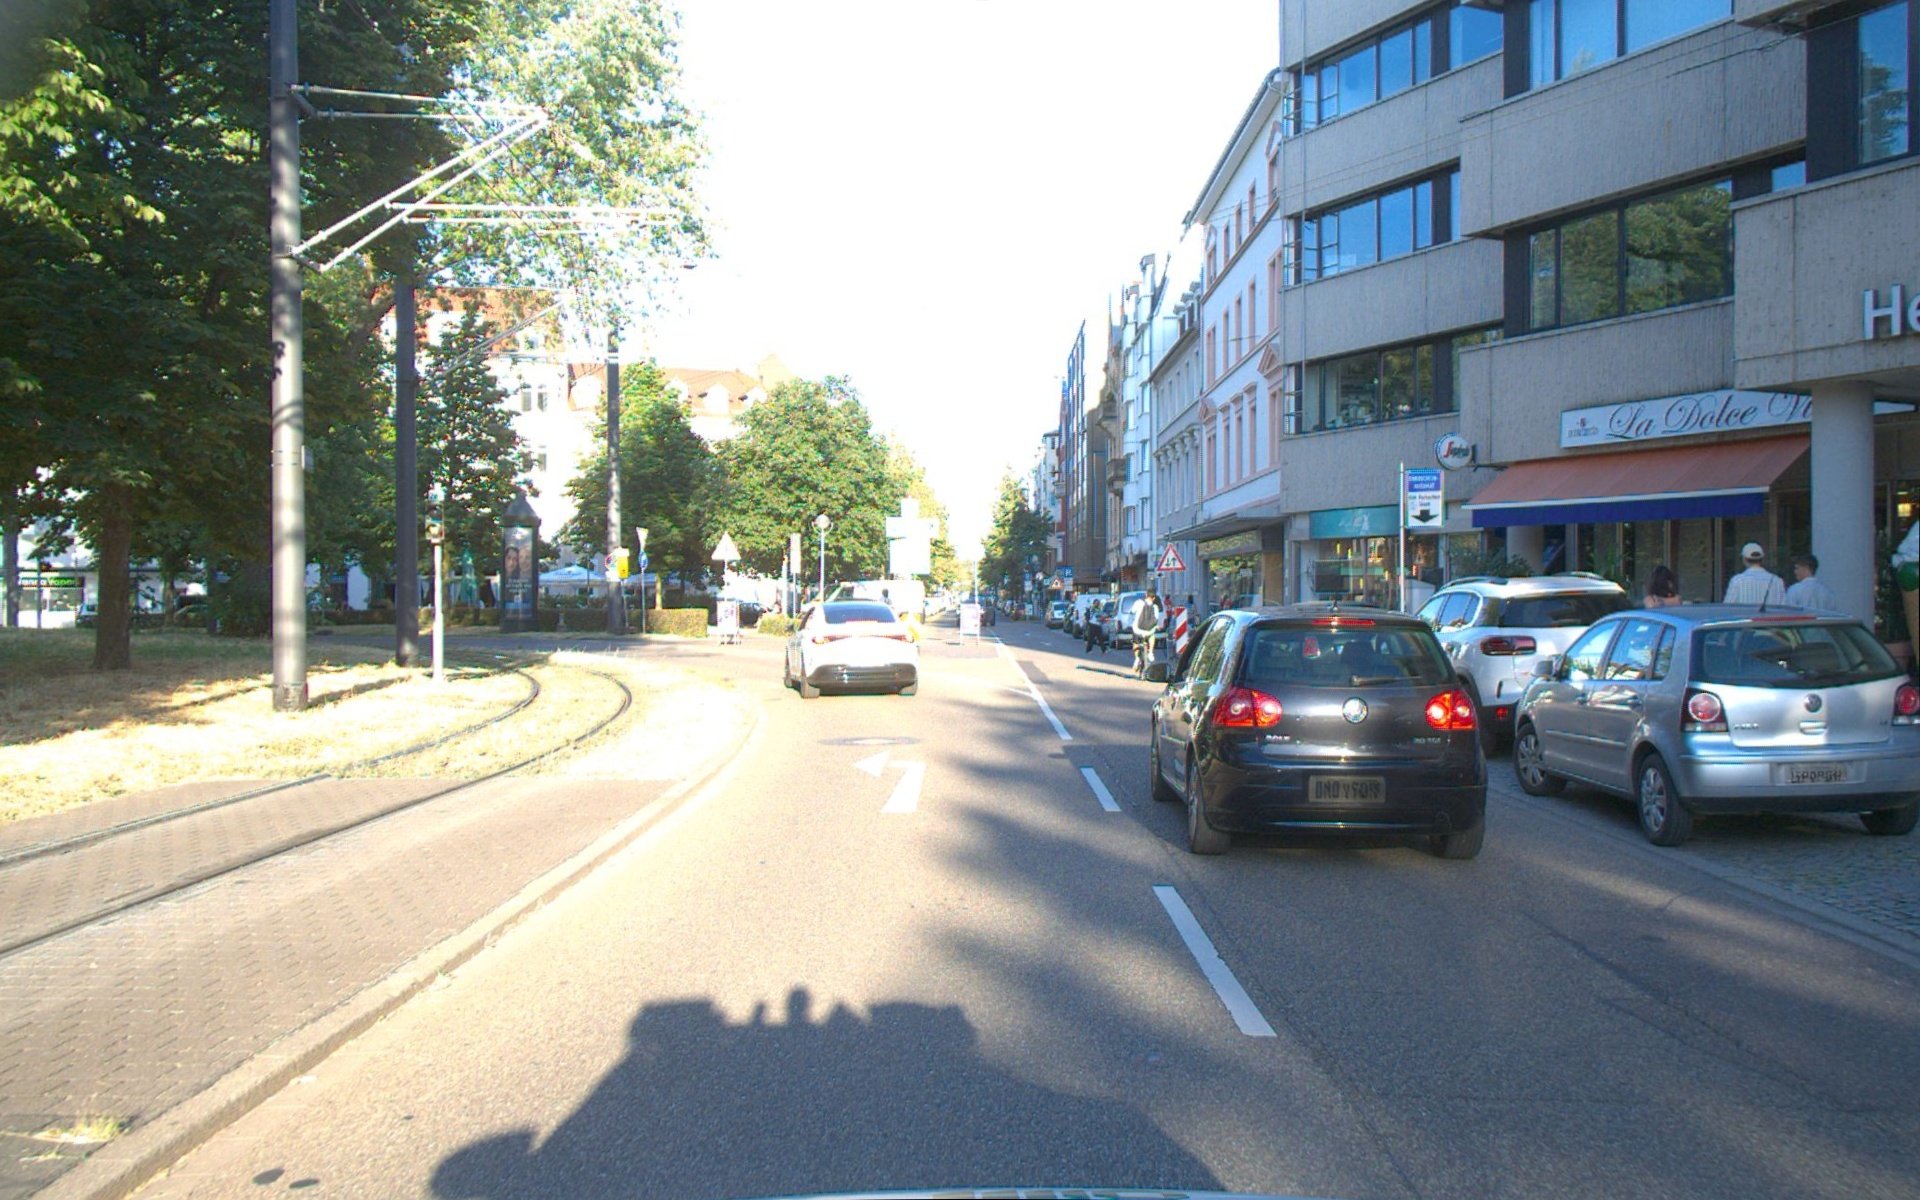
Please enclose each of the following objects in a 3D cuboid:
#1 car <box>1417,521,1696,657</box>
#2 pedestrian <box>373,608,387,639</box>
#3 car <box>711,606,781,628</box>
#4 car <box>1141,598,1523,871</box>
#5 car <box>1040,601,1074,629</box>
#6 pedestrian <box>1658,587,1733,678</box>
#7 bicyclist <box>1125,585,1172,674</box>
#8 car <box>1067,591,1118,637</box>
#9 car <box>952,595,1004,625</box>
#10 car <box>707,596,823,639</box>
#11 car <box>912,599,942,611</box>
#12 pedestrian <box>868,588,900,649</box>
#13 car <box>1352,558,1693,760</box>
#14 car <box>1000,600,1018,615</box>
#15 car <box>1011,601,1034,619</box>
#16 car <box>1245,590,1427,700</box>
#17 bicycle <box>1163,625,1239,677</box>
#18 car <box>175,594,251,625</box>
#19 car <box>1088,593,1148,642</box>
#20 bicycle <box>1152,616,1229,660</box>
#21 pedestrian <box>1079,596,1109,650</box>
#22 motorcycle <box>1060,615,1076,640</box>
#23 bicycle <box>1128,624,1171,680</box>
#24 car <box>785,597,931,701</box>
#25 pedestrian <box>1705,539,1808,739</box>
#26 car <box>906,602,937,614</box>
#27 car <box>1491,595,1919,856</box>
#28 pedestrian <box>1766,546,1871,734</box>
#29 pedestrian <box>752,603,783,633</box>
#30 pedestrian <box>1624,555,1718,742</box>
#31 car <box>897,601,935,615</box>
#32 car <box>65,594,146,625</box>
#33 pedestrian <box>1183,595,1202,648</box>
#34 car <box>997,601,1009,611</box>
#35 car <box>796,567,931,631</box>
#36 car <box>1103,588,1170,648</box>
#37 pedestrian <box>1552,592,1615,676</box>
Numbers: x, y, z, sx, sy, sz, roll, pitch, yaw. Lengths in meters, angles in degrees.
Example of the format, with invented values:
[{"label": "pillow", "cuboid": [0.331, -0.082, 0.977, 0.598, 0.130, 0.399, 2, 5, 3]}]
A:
[{"label": "car", "cuboid": [11.793, -0.237, 32.634, 5.251, 2.485, 2.075, -2, 0, -26]}, {"label": "pedestrian", "cuboid": [-28.500, 1.141, 81.305, 0.524, 1.524, 0.659, 0, 0, -7]}, {"label": "car", "cuboid": [-13.028, 1.036, 100.809, 3.933, 1.324, 1.840, 0, 0, -23]}, {"label": "car", "cuboid": [2.270, 0.736, 11.140, 1.711, 1.486, 4.104, 0, 0, 1]}, {"label": "car", "cuboid": [5.703, 0.871, 97.567, 1.716, 1.537, 3.544, -2, 0, -1]}, {"label": "pedestrian", "cuboid": [10.860, 0.477, 24.425, 0.757, 1.304, 0.656, -2, 0, -29]}, {"label": "bicyclist", "cuboid": [3.563, 0.549, 31.343, 0.761, 1.646, 1.025, 1, 0, 0]}, {"label": "car", "cuboid": [5.683, 0.577, 71.264, 1.885, 1.873, 4.018, -2, 0, 1]}, {"label": "car", "cuboid": [1.151, 0.607, 104.161, 1.953, 1.803, 4.000, 0, 1, 22]}, {"label": "car", "cuboid": [-7.355, 0.638, 62.474, 3.950, 1.579, 1.857, 0, 0, -33]}, {"label": "car", "cuboid": [-3.985, 0.620, 199.924, 3.322, 1.310, 1.666, 1, 0, -16]}, {"label": "pedestrian", "cuboid": [-2.208, 0.521, 47.862, 0.843, 1.736, 0.940, 1, 0, -6]}, {"label": "car", "cuboid": [5.619, 0.523, 17.187, 1.830, 1.743, 4.503, -3, 0, -2]}, {"label": "car", "cuboid": [5.234, 0.842, 177.365, 1.716, 1.537, 3.544, -2, 0, -1]}, {"label": "car", "cuboid": [5.449, 0.864, 144.747, 1.716, 1.537, 3.544, -2, 0, -1]}, {"label": "car", "cuboid": [5.632, 0.628, 25.225, 1.629, 1.466, 3.820, -3, 0, -4]}, {"label": "bicycle", "cuboid": [5.533, 1.184, 38.000, 1.573, 1.138, 0.610, -2, 1, 34]}, {"label": "car", "cuboid": [-39.414, 0.502, 87.332, 3.563, 1.579, 1.651, 0, 0, -23]}, {"label": "car", "cuboid": [5.582, 0.604, 58.734, 1.699, 1.645, 3.916, -2, 0, 0]}, {"label": "bicycle", "cuboid": [5.863, 0.976, 42.060, 1.812, 1.063, 0.580, -2, 1, 31]}, {"label": "pedestrian", "cuboid": [3.996, 0.688, 49.229, 0.721, 1.582, 0.631, 0, 0, 26]}, {"label": "motorcycle", "cuboid": [5.255, 1.333, 80.537, 0.477, 1.195, 1.605, -2, 1, -7]}, {"label": "bicycle", "cuboid": [3.570, 0.968, 31.283, 0.567, 1.004, 1.935, 1, 0, 0]}, {"label": "car", "cuboid": [-1.734, 0.726, 26.729, 1.831, 1.466, 4.186, -2, 1, -11]}, {"label": "pedestrian", "cuboid": [7.783, 0.375, 16.187, 0.609, 1.890, 0.662, -3, 0, 1]}, {"label": "car", "cuboid": [-4.520, 0.913, 192.146, 3.322, 1.310, 1.666, 1, 0, -16]}, {"label": "car", "cuboid": [5.197, 0.736, 11.721, 1.628, 1.466, 3.855, -3, 0, 1]}, {"label": "pedestrian", "cuboid": [8.405, 0.383, 16.214, 0.609, 1.770, 0.662, -3, 0, 1]}, {"label": "pedestrian", "cuboid": [-8.308, 0.767, 71.437, 1.084, 1.248, 0.853, 1, 0, -26]}, {"label": "pedestrian", "cuboid": [7.036, 0.474, 16.393, 0.567, 1.790, 0.662, -3, 0, 1]}, {"label": "car", "cuboid": [-4.278, 0.773, 160.958, 3.322, 1.310, 1.666, 1, 0, -16]}, {"label": "car", "cuboid": [-44.074, 0.510, 85.415, 3.563, 1.579, 1.651, 0, 0, -23]}, {"label": "pedestrian", "cuboid": [7.319, 0.676, 52.118, 0.491, 1.653, 0.496, 1, 0, 0]}, {"label": "car", "cuboid": [6.484, 0.936, 250.179, 1.716, 1.537, 3.544, -2, 0, -1]}, {"label": "car", "cuboid": [-4.126, -0.034, 70.990, 5.444, 2.640, 2.136, 0, 0, -27]}, {"label": "car", "cuboid": [5.668, 0.557, 53.438, 1.699, 1.831, 3.916, -2, 0, 0]}, {"label": "pedestrian", "cuboid": [9.956, 0.542, 26.421, 0.644, 1.304, 0.655, -2, 0, -30]}]
